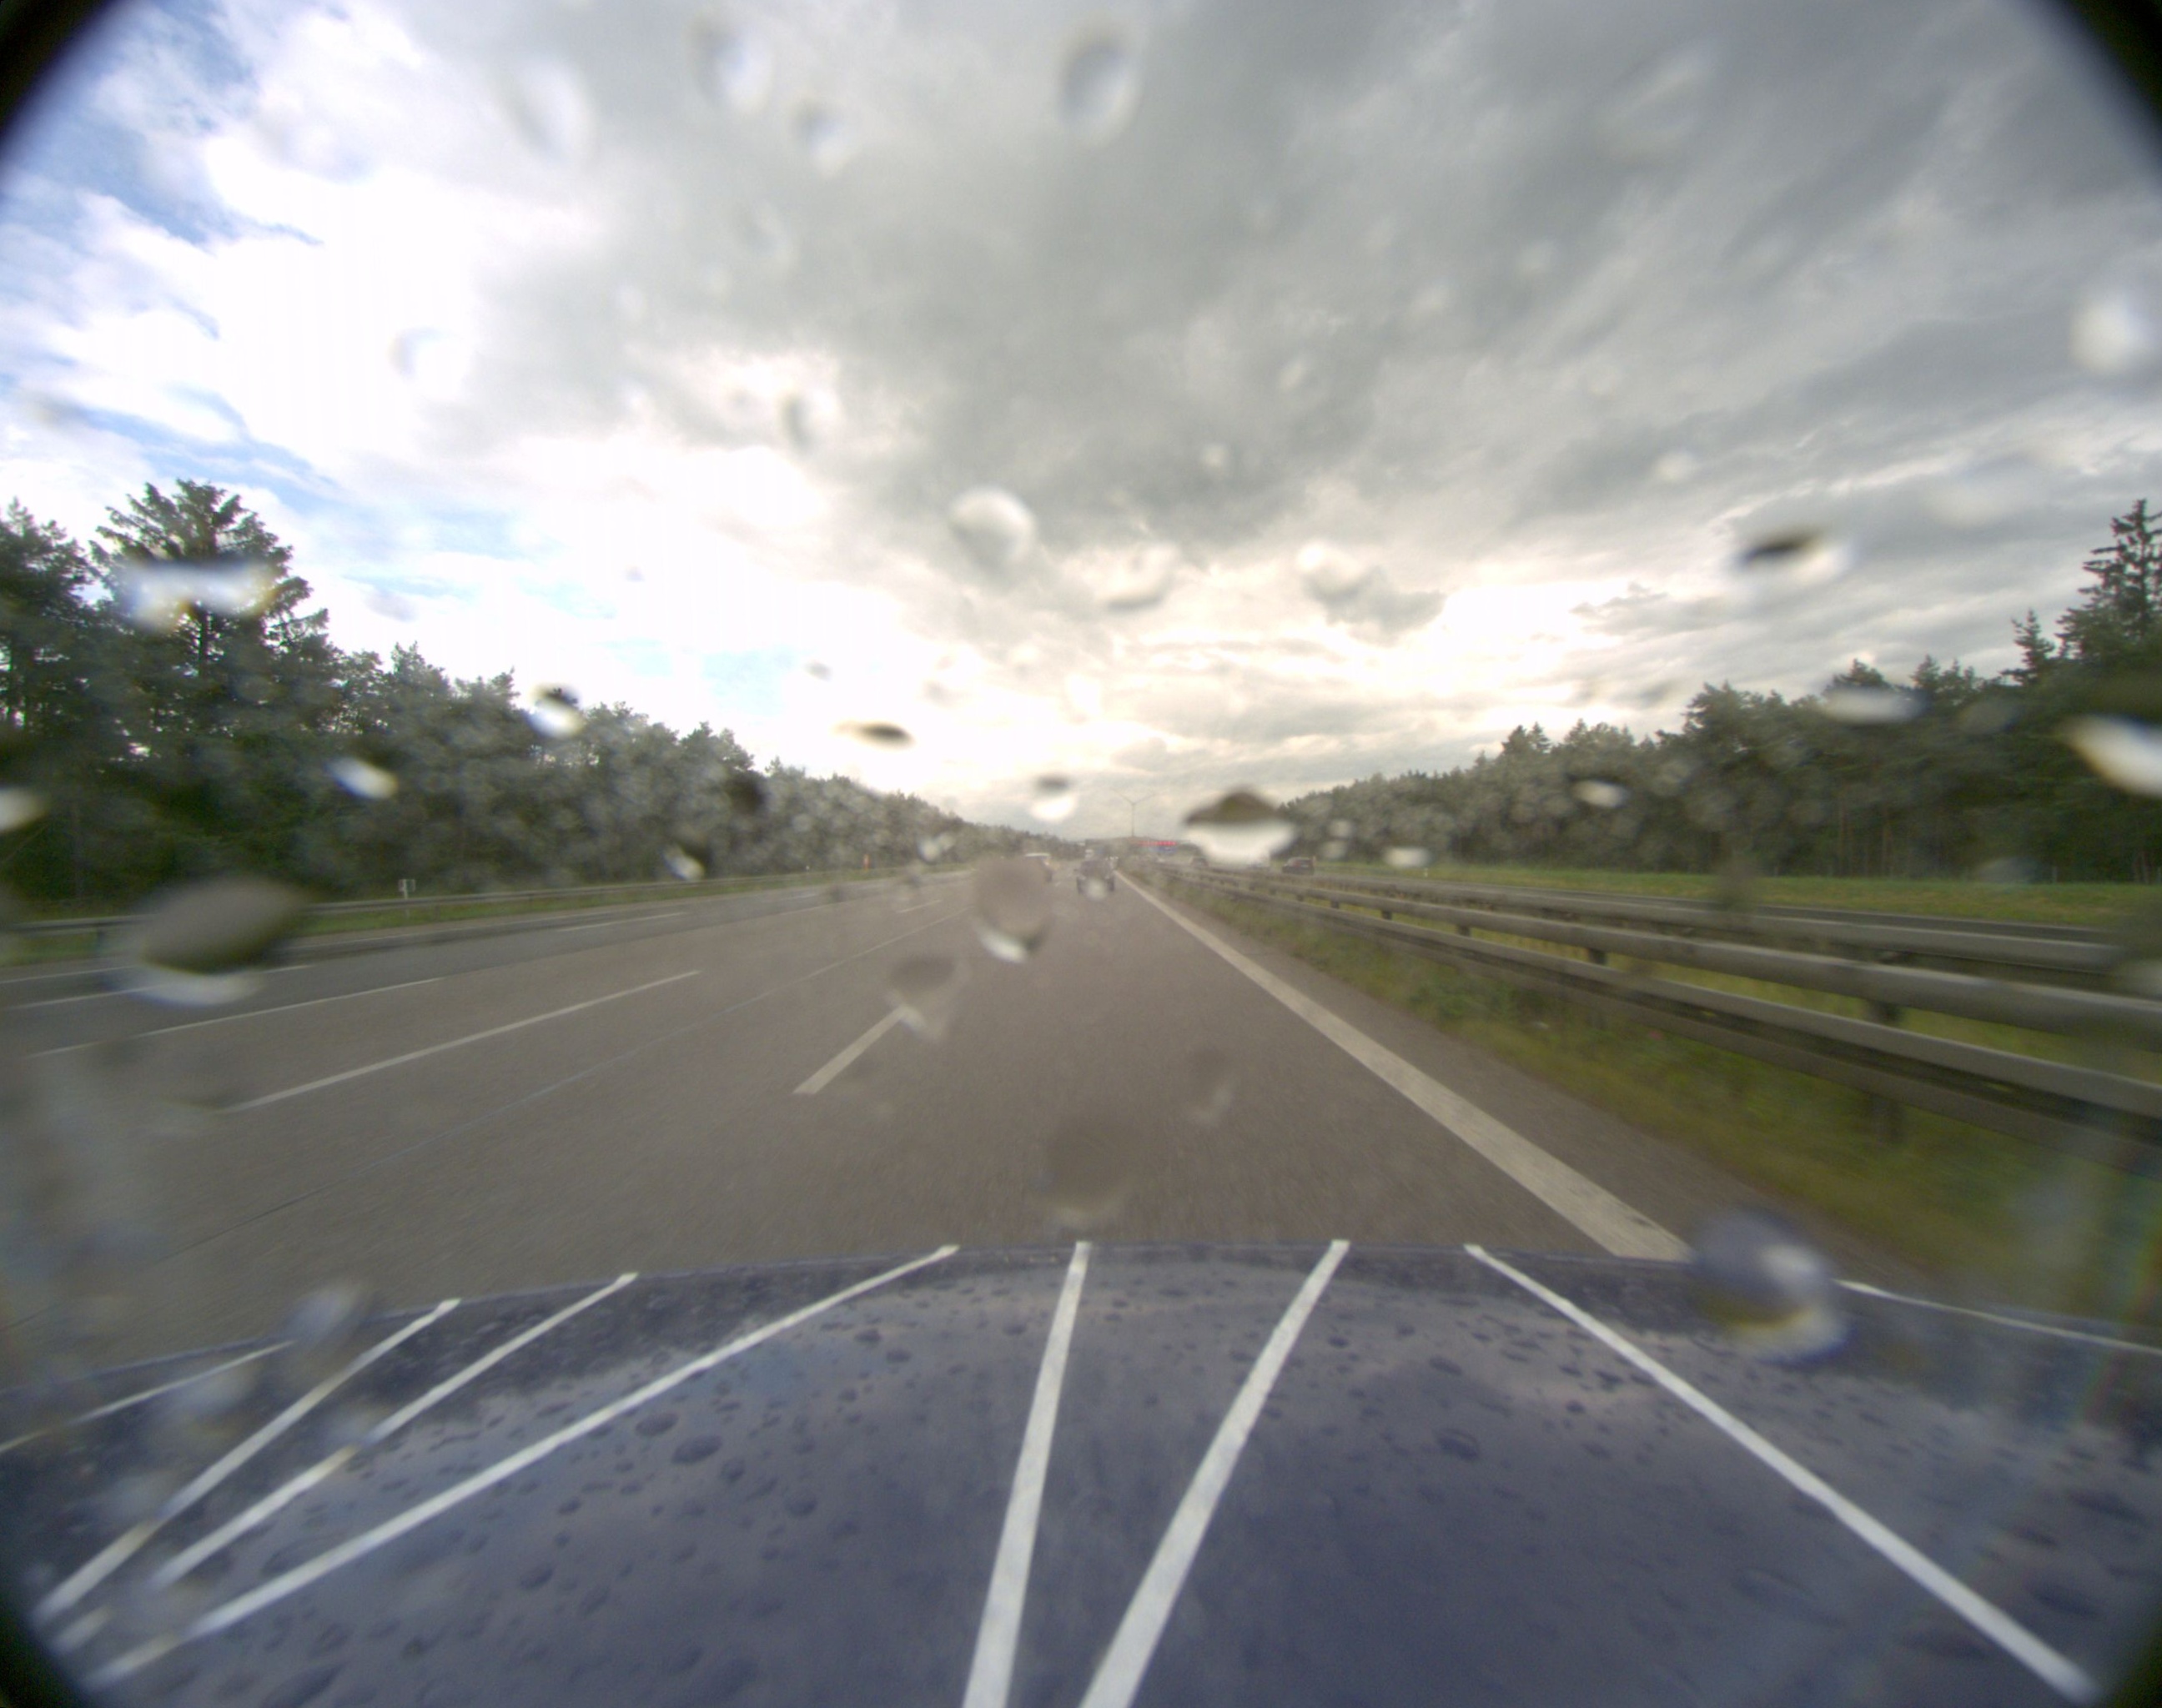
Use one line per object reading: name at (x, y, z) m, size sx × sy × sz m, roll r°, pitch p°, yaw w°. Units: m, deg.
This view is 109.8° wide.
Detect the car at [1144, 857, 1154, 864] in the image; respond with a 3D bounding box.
car at (14.585, 1.377, 163.189) m, size 1.775 × 1.530 × 4.000 m, roll 0°, pitch 0°, yaw 2°

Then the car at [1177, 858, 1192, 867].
car at (15.131, 1.219, 111.325) m, size 1.702 × 1.317 × 4.668 m, roll 1°, pitch 0°, yaw 1°

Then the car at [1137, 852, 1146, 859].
car at (15.667, 0.368, 197.380) m, size 1.998 × 2.002 × 4.627 m, roll 0°, pitch 0°, yaw 2°

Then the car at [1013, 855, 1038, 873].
car at (-6.625, 1.197, 91.263) m, size 1.997 × 2.001 × 5.486 m, roll -2°, pitch -1°, yaw 7°

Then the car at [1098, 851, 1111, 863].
car at (4.011, 0.552, 131.232) m, size 1.998 × 2.002 × 4.000 m, roll -2°, pitch 0°, yaw 0°

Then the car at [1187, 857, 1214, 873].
car at (11.116, 1.017, 71.066) m, size 1.879 × 1.423 × 3.999 m, roll 0°, pitch 0°, yaw 0°

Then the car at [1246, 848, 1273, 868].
car at (23.441, 0.488, 100.199) m, size 2.103 × 2.496 × 6.584 m, roll 1°, pitch 0°, yaw 1°

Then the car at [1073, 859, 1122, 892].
car at (0.818, 0.932, 34.328) m, size 1.809 × 1.321 × 4.433 m, roll -1°, pitch 0°, yaw 6°

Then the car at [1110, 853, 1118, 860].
car at (10.679, 0.783, 245.401) m, size 2.179 × 2.002 × 4.362 m, roll -2°, pitch 0°, yaw 1°

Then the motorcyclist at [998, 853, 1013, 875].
motorcyclist at (-5.580, 0.743, 56.246) m, size 0.893 × 1.605 × 0.959 m, roll -1°, pitch 0°, yaw 4°

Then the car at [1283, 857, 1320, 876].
car at (18.285, 0.993, 63.172) m, size 1.879 × 1.463 × 3.999 m, roll 1°, pitch 0°, yaw 0°

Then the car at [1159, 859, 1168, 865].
car at (18.569, 1.844, 172.044) m, size 1.702 × 1.479 × 4.000 m, roll 0°, pitch 0°, yaw 2°

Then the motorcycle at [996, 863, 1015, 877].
motorcycle at (-5.564, 1.168, 56.339) m, size 1.002 × 1.025 × 2.174 m, roll -1°, pitch 0°, yaw 4°

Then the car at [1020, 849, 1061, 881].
car at (-2.566, 0.690, 49.275) m, size 1.968 × 1.890 × 4.883 m, roll -1°, pitch 0°, yaw 5°
